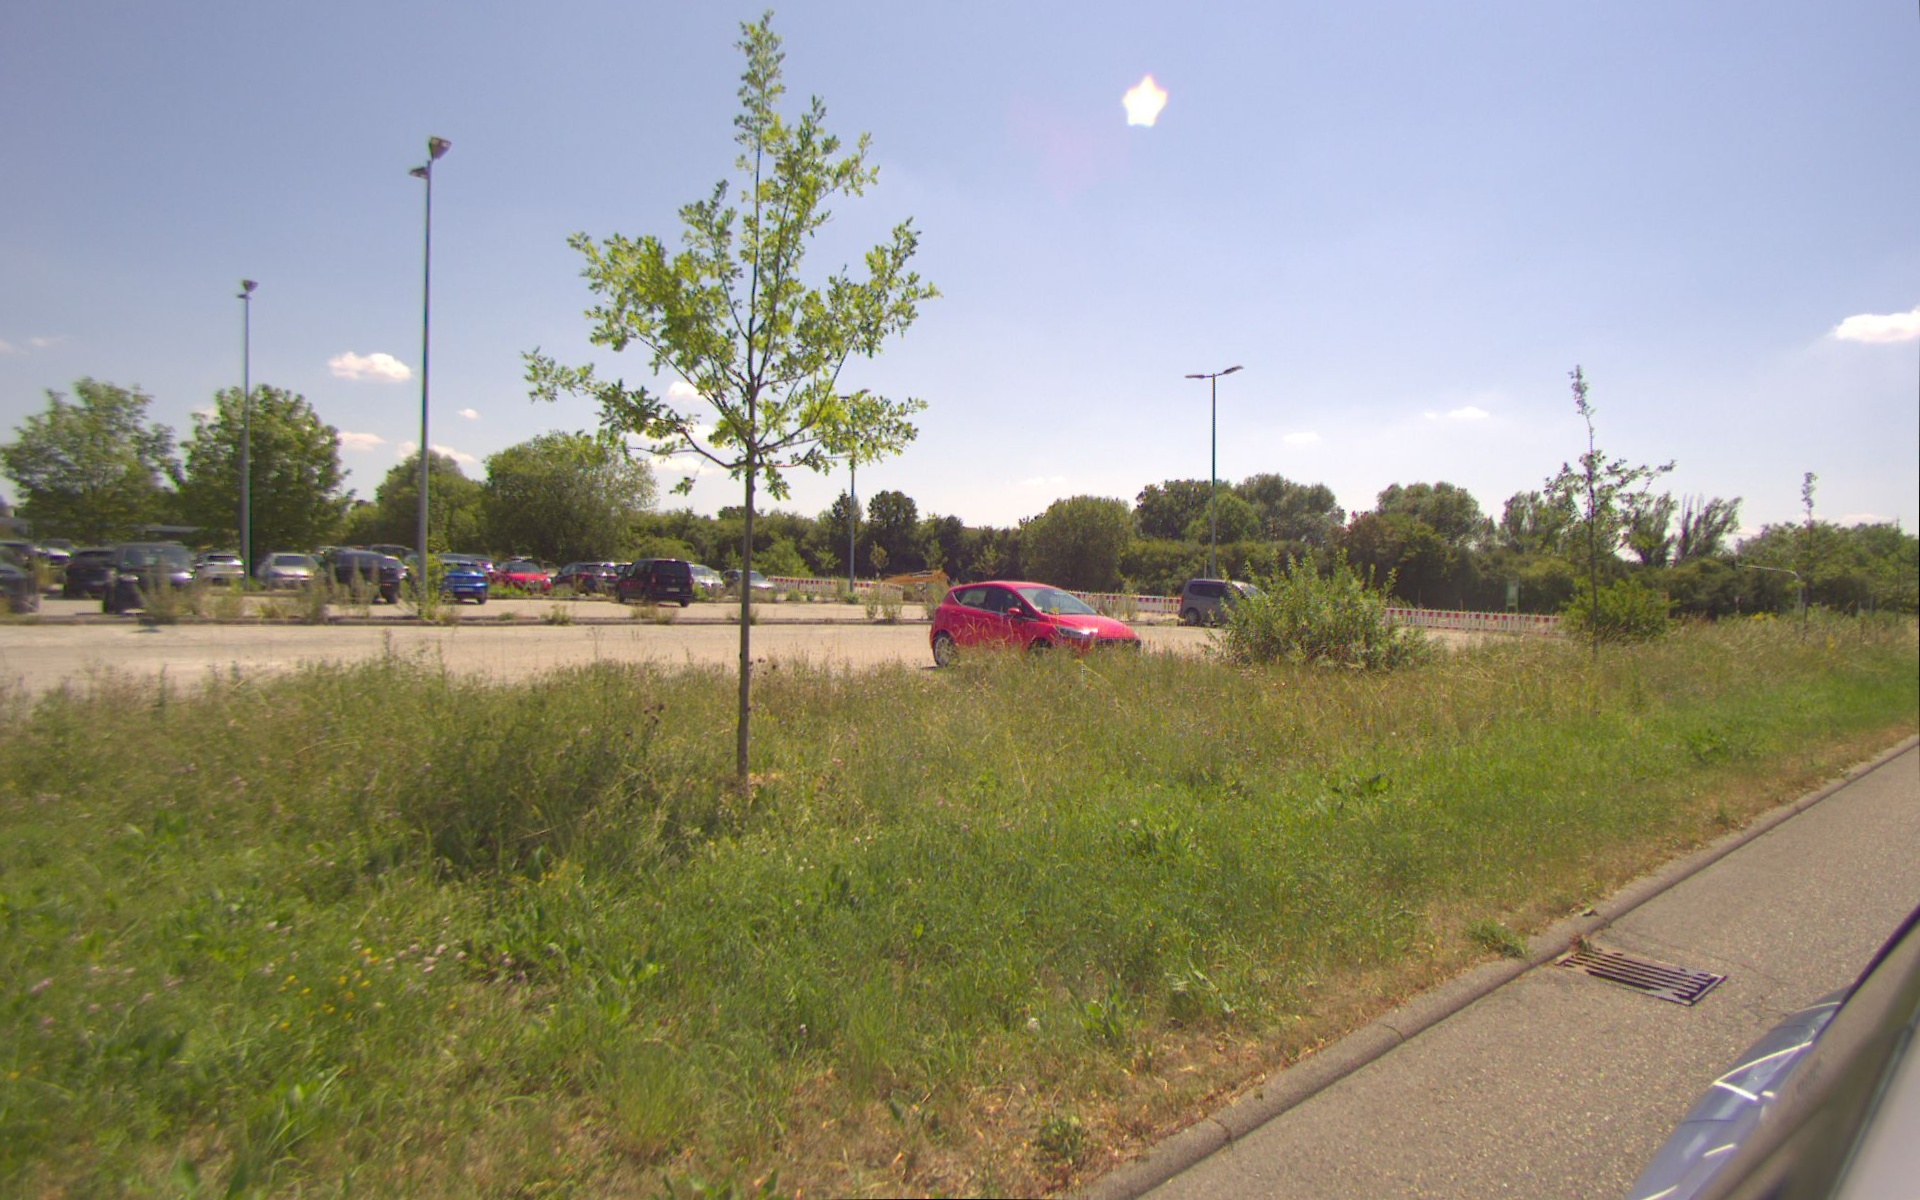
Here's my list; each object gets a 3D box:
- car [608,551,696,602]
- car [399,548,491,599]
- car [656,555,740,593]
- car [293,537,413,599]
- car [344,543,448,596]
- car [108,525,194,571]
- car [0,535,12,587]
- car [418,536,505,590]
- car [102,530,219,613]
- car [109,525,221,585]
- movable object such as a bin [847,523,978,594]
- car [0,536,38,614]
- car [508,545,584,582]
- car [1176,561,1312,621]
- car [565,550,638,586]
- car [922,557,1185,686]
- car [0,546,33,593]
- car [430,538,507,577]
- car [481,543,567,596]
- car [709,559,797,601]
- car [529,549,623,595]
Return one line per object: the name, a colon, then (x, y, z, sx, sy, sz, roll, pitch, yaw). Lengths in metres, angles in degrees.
car: (-12.004, -0.940, 39.331, 1.727, 1.779, 3.994, 2, 2, -42)
car: (-17.628, -0.940, 34.570, 1.704, 1.482, 3.801, 4, 0, -43)
car: (-12.163, -1.213, 46.882, 3.982, 1.438, 1.696, 5, 0, 39)
car: (-19.373, -1.026, 32.244, 3.982, 1.660, 1.971, 5, 0, 39)
car: (-21.091, -1.152, 37.792, 3.982, 1.660, 1.971, 5, 0, 39)
car: (-34.048, -2.204, 42.561, 3.982, 1.660, 1.971, 5, 0, 39)
car: (-27.065, -1.108, 27.667, 1.668, 1.357, 3.991, -1, 3, -44)
car: (-19.993, -1.494, 40.525, 1.966, 1.905, 3.992, 4, 0, -43)
car: (-17.646, -0.666, 22.333, 1.892, 1.661, 3.997, 0, 3, -39)
car: (-25.955, -1.481, 32.998, 3.982, 1.660, 1.971, 5, 0, 39)
movable object such as a bin: (-3.131, -2.762, 67.363, 7.993, 4.095, 2.973, 4, 0, 16)
car: (-19.275, -0.539, 19.574, 1.892, 1.412, 3.997, 0, 3, -39)
car: (-21.739, -1.916, 53.114, 3.982, 1.660, 1.971, 5, 0, 39)
car: (10.489, -0.372, 37.639, 1.906, 1.938, 4.472, 2, 2, -41)
car: (-19.848, -1.782, 55.976, 3.982, 1.660, 1.971, 5, 0, 39)
car: (1.362, 0.224, 16.095, 1.892, 1.745, 3.997, 0, 3, -39)
car: (-37.674, -1.265, 39.195, 3.982, 1.660, 1.971, 5, 0, 39)
car: (-24.909, -2.153, 51.251, 3.982, 1.660, 1.971, 5, 0, 39)
car: (-18.178, -1.289, 42.106, 1.966, 1.905, 3.992, 4, 0, -43)
car: (-9.913, -0.956, 48.352, 3.982, 1.660, 1.971, 5, 0, 39)
car: (-16.551, -1.227, 43.580, 3.982, 1.660, 1.971, 5, 0, 39)
